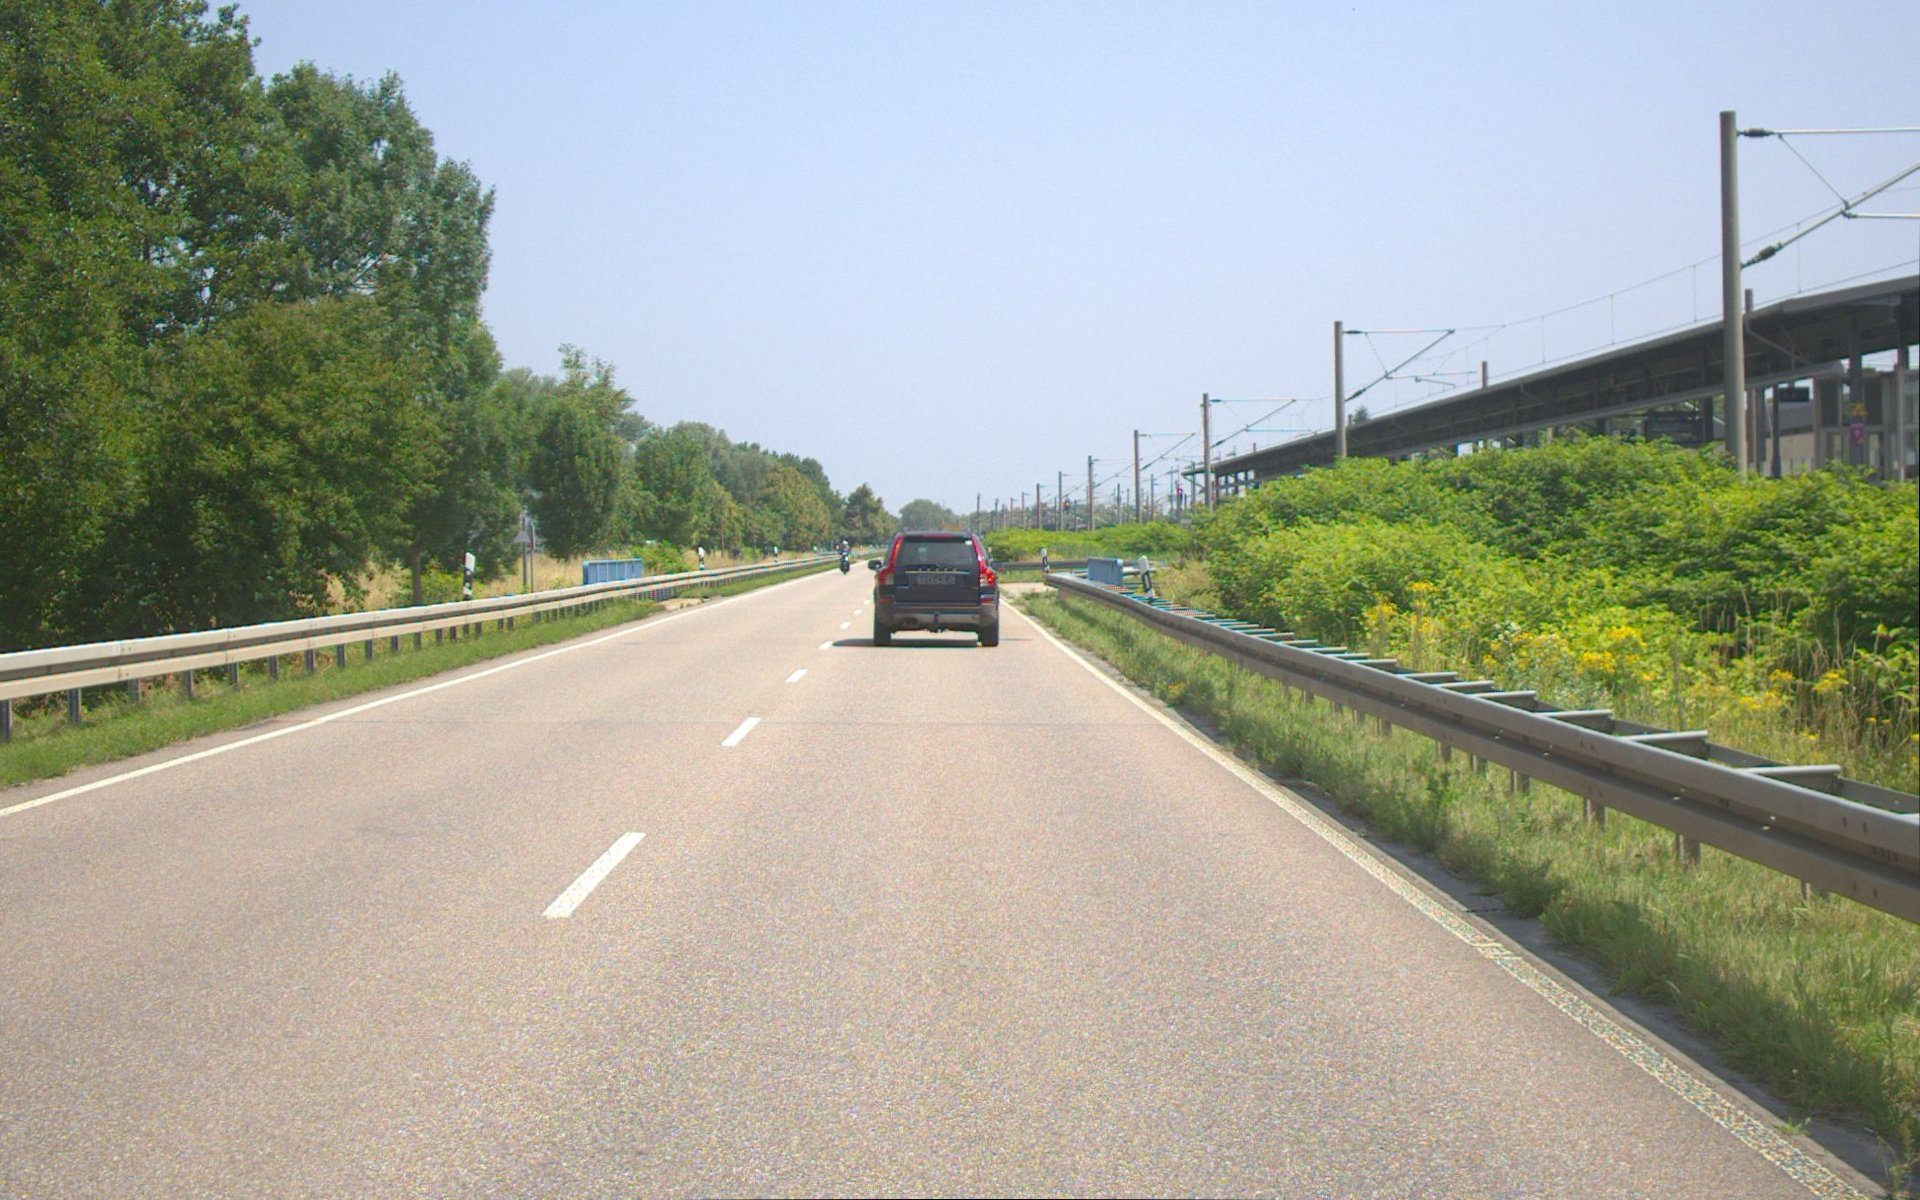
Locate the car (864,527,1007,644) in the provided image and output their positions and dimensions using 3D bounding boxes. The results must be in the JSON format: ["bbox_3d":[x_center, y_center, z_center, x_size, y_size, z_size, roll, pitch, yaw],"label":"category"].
[{"bbox_3d":[-0.414,-0.248,52.199,1.993,1.694,4.001,0,1,-3],"label":"car"}]
